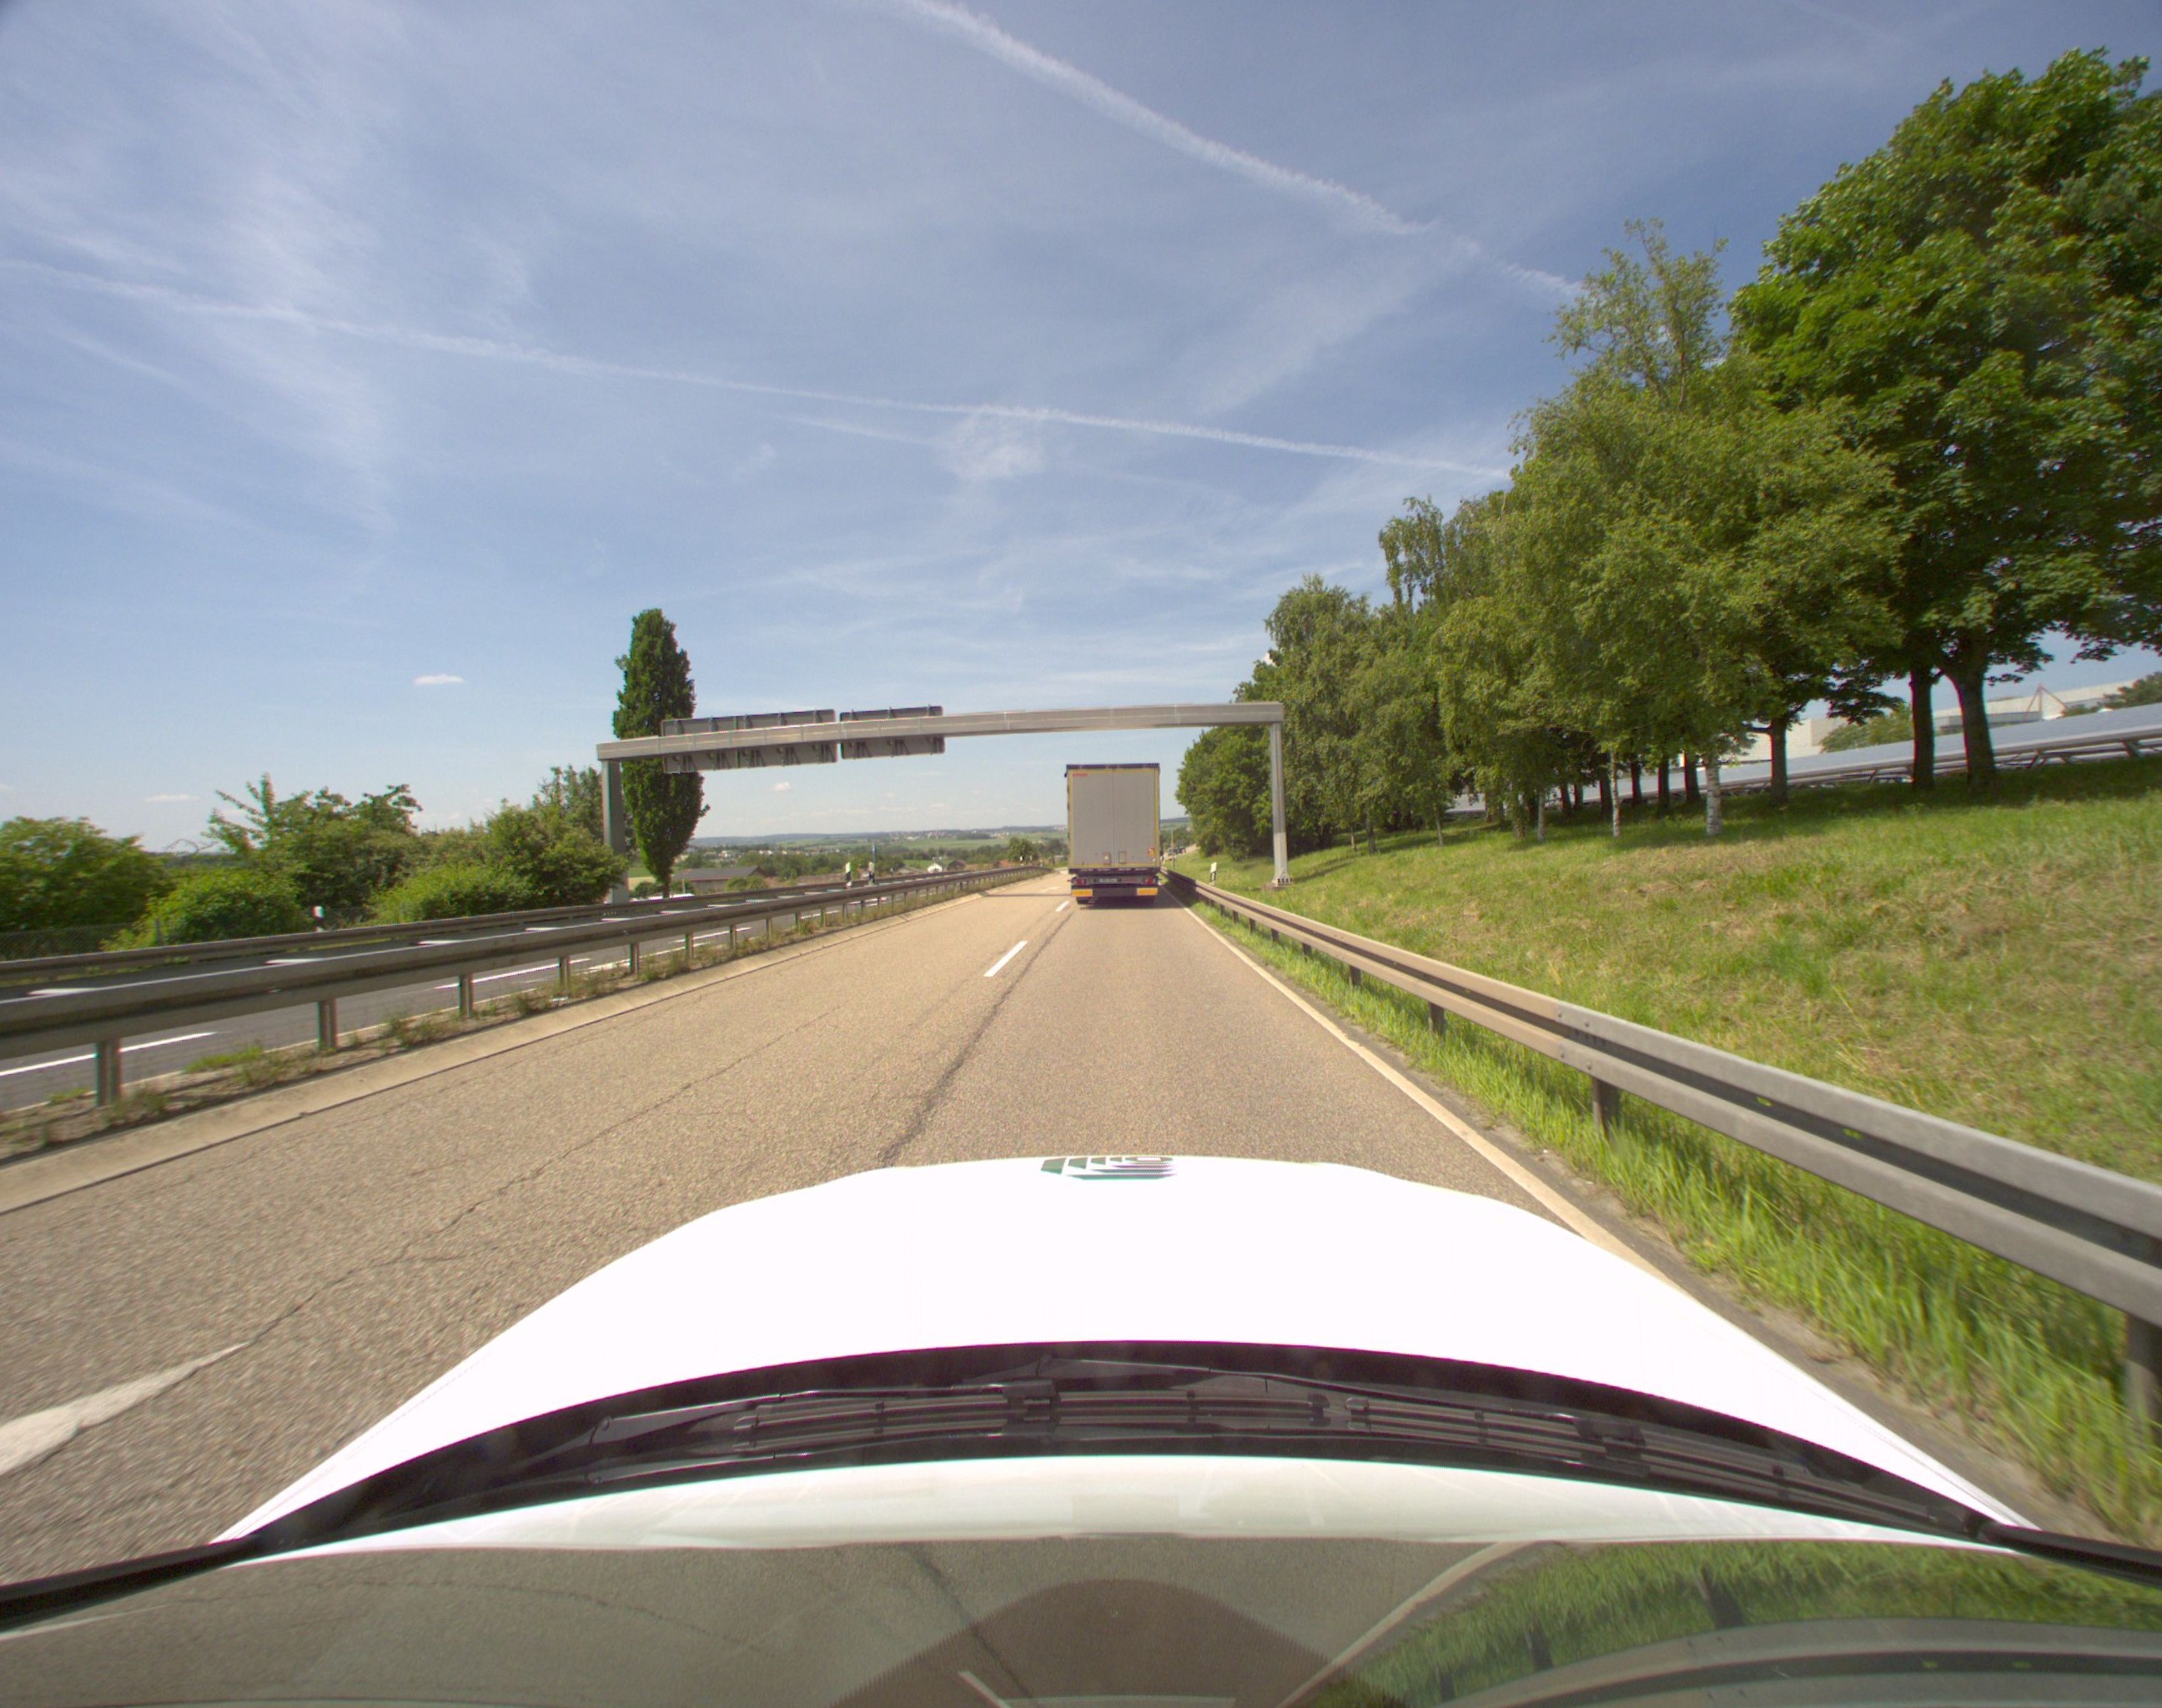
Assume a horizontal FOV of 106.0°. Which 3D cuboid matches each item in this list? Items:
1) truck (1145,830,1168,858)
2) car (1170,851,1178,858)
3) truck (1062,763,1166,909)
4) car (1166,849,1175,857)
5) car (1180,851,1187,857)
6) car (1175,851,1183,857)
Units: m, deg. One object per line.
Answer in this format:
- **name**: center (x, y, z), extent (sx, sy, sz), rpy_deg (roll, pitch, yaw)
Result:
- **truck**: center (10.974, -1.404, 118.120), extent (2.640, 3.765, 10.185), rpy_deg (-1, -1, 8)
- **car**: center (22.680, 0.088, 198.608), extent (1.779, 1.688, 4.002), rpy_deg (-1, -1, 2)
- **truck**: center (1.190, -0.499, 27.716), extent (2.787, 3.929, 11.350), rpy_deg (-1, 0, 3)
- **car**: center (19.808, -0.295, 179.972), extent (1.779, 1.688, 4.002), rpy_deg (-1, -1, 2)
- **car**: center (30.127, -0.038, 239.654), extent (1.779, 1.688, 4.002), rpy_deg (-1, -1, 2)
- **car**: center (26.493, 0.058, 220.141), extent (1.779, 1.688, 4.002), rpy_deg (-1, -1, 2)
